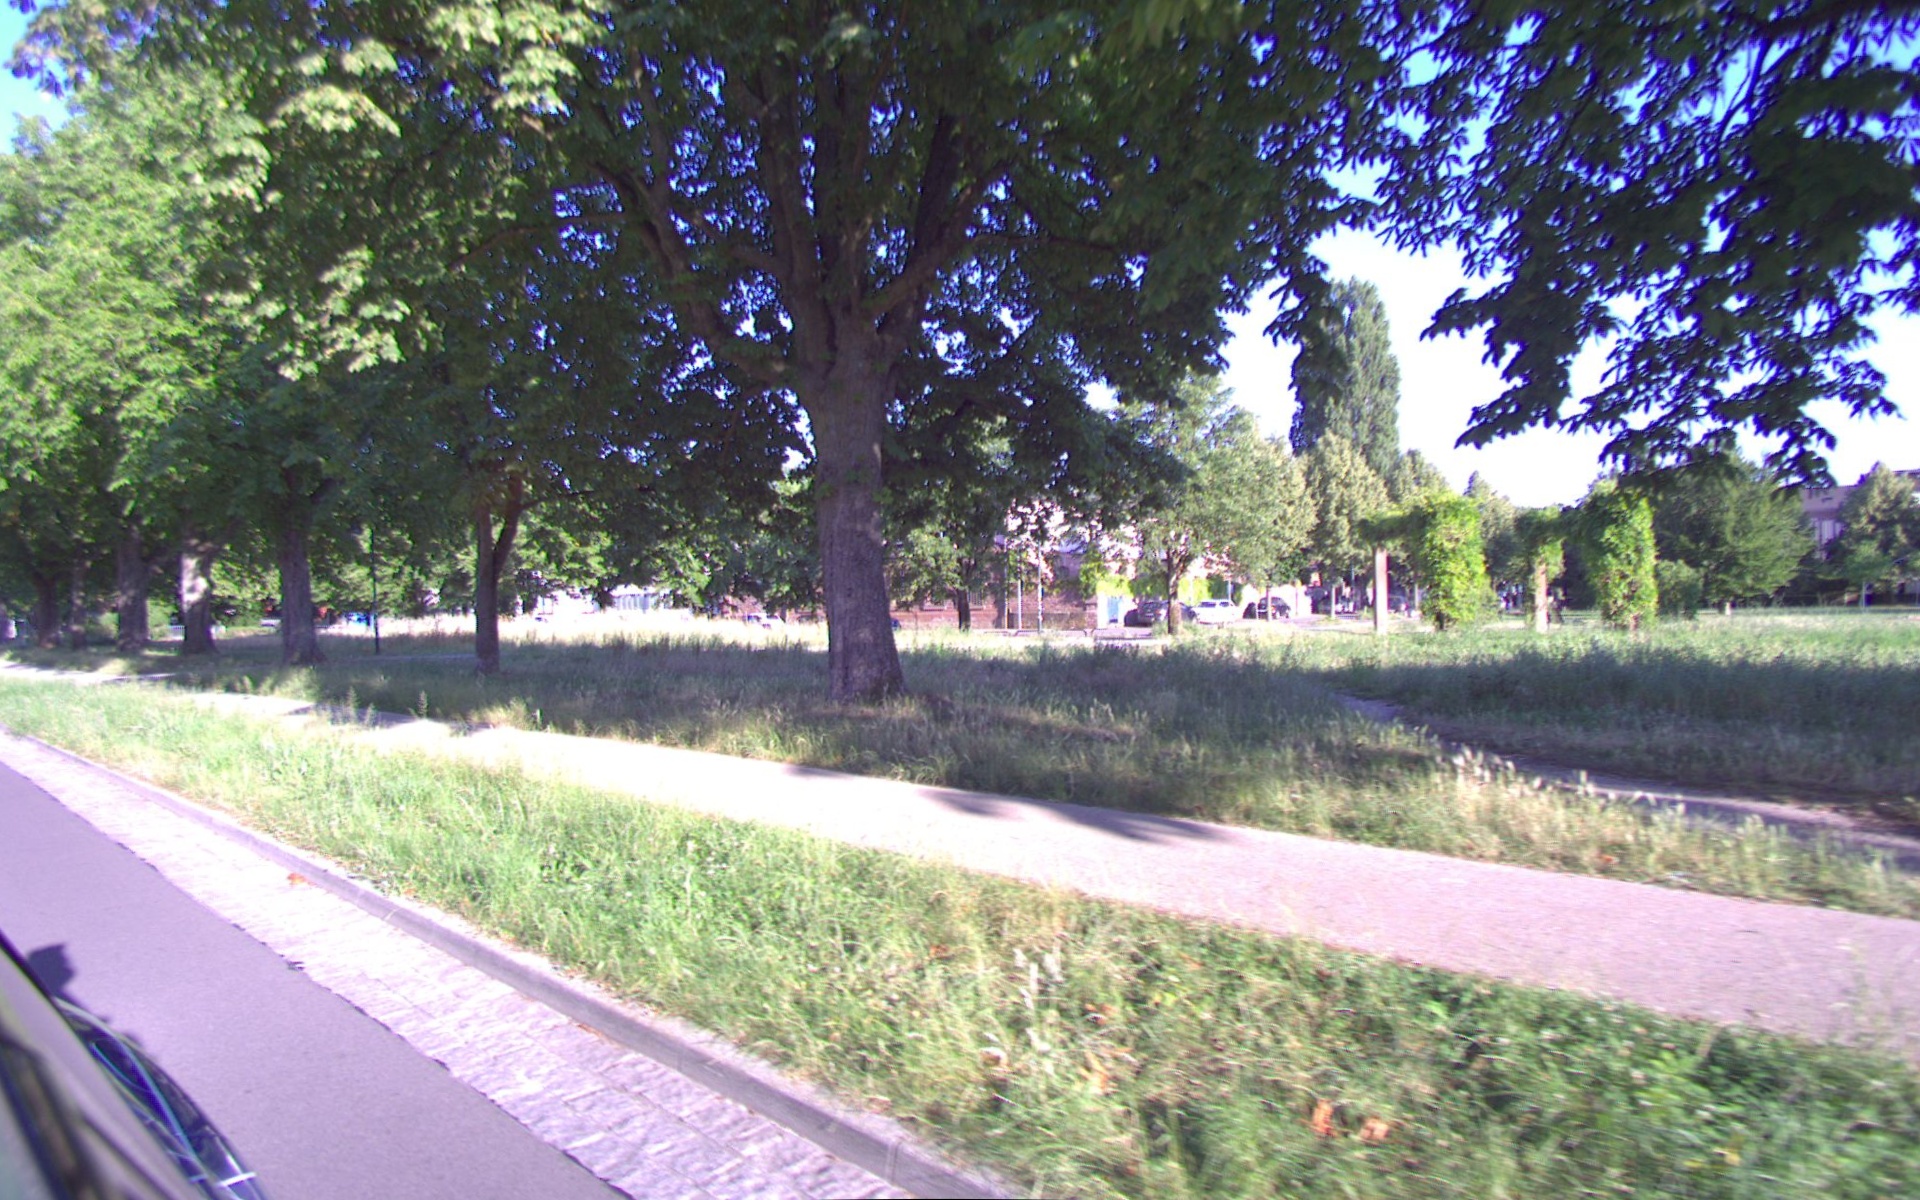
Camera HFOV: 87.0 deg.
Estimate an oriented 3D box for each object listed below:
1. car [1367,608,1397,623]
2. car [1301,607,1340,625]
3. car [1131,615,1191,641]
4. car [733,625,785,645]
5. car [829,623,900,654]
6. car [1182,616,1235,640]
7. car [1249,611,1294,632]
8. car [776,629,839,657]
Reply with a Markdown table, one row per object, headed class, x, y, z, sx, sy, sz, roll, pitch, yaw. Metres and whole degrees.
| class | x | y | z | sx | sy | sz | roll | pitch | yaw |
| --- | --- | --- | --- | --- | --- | --- | --- | --- | --- |
| car | 37.860 | 1.385 | 90.750 | 1.584 | 1.290 | 3.592 | -2 | 0 | 39 |
| car | 28.067 | 1.220 | 78.651 | 1.586 | 1.290 | 3.589 | -2 | 0 | 42 |
| car | 11.149 | 1.513 | 56.005 | 1.586 | 1.290 | 3.589 | -2 | 0 | 42 |
| car | -13.334 | 2.305 | 67.160 | 3.580 | 1.284 | 1.564 | -2 | 0 | 42 |
| car | -4.944 | 1.960 | 52.015 | 3.639 | 1.492 | 1.564 | -2 | 0 | 42 |
| car | 14.889 | 1.670 | 60.594 | 1.586 | 1.290 | 3.589 | -2 | 0 | 42 |
| car | 21.452 | 1.468 | 69.602 | 1.586 | 1.290 | 3.589 | -2 | 0 | 42 |
| car | -9.576 | 2.708 | 63.473 | 3.998 | 1.641 | 1.744 | -2 | -1 | 41 |
